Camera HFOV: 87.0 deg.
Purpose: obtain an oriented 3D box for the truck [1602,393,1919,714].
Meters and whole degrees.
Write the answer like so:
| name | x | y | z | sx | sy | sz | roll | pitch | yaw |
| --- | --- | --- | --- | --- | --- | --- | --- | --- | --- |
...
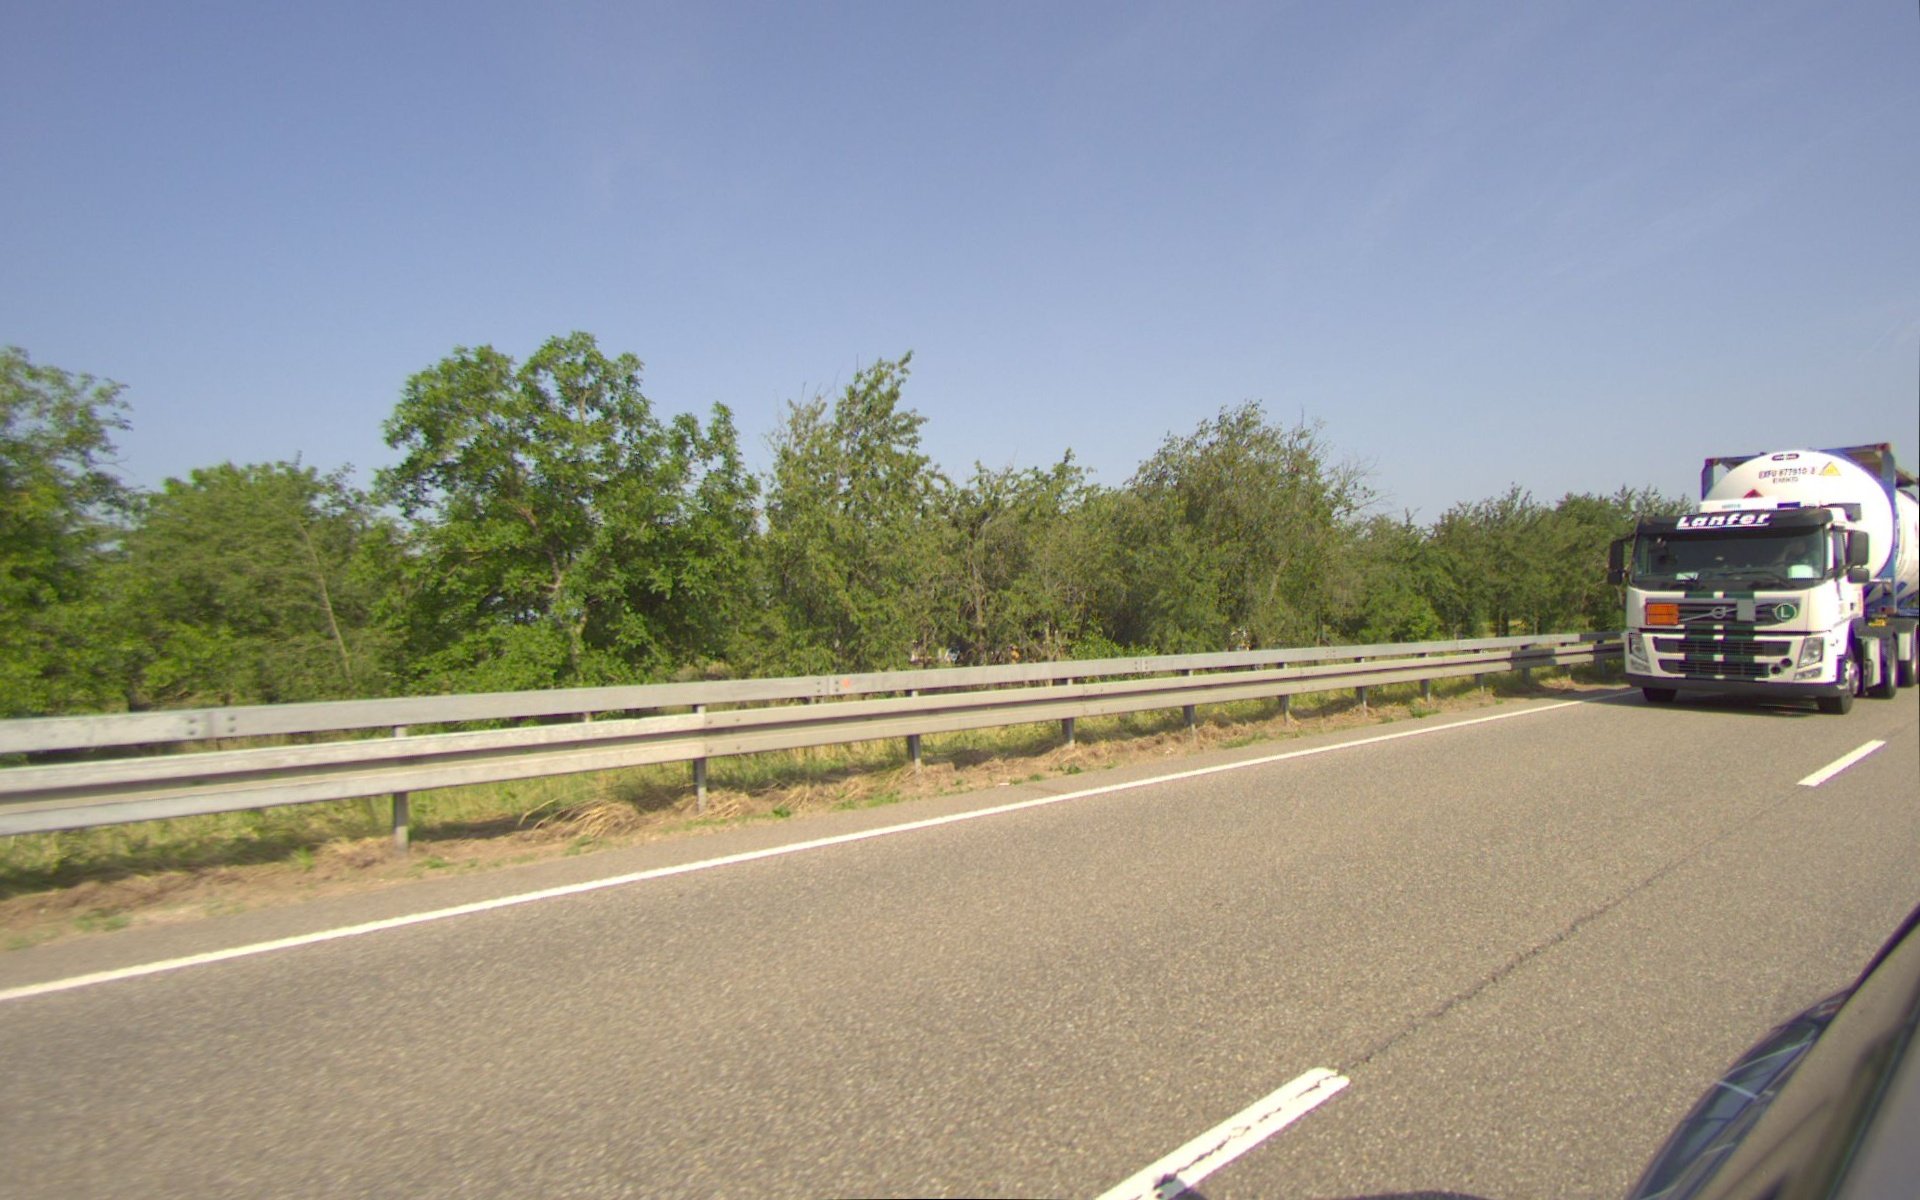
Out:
| name | x | y | z | sx | sy | sz | roll | pitch | yaw |
| --- | --- | --- | --- | --- | --- | --- | --- | --- | --- |
| truck | 12.379 | -0.603 | 15.495 | 5.528 | 4.011 | 2.777 | 0 | 0 | -40 |

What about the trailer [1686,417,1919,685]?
| name | x | y | z | sx | sy | sz | roll | pitch | yaw |
| --- | --- | --- | --- | --- | --- | --- | --- | --- | --- |
| trailer | 16.458 | -0.760 | 18.963 | 8.042 | 4.042 | 2.762 | 0 | 0 | -40 |
